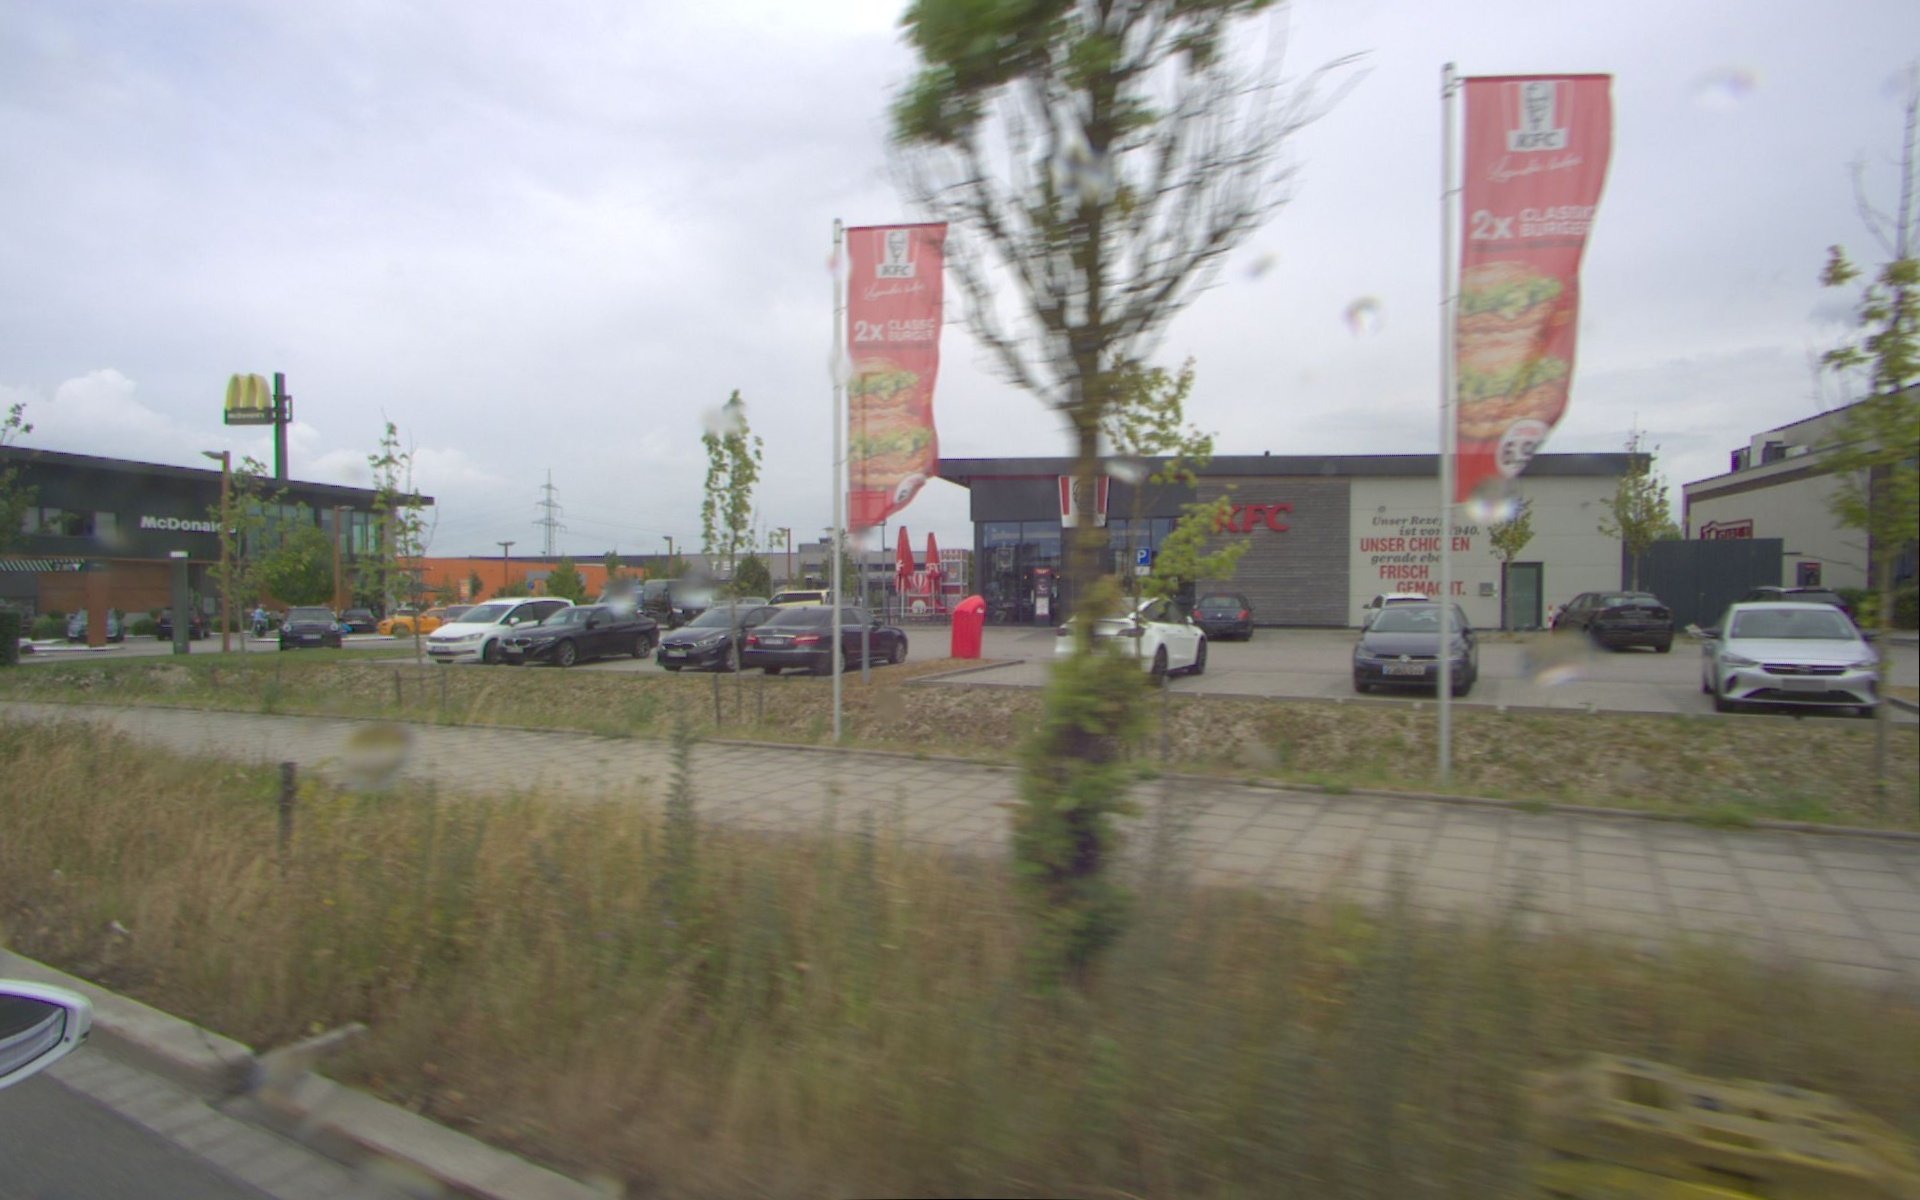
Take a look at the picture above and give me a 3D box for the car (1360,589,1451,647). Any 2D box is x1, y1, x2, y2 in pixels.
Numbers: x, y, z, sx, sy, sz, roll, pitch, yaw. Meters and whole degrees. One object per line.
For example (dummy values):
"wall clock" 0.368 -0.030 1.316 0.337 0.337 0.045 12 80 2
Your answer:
"car" 13.191 0.479 29.896 2.044 1.539 4.566 0 1 18

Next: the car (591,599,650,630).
"car" -16.871 0.684 49.677 1.928 1.462 4.195 -1 0 -31

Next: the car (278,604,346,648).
"car" -21.366 0.805 32.958 1.793 1.330 3.823 0 0 -34

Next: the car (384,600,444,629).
"car" -34.268 0.916 62.994 1.962 1.745 3.999 0 -1 -6

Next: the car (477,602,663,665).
"car" -9.872 0.780 25.789 2.037 1.455 4.472 0 0 20

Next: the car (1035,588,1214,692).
"car" 3.290 0.649 19.160 2.056 1.667 4.556 0 1 28

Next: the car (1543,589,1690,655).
"car" 16.922 0.504 26.080 1.942 1.539 4.568 0 1 17

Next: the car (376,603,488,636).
"car" -25.458 0.904 48.291 4.667 1.462 1.989 0 0 -31

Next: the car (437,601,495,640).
"car" -19.631 0.751 39.721 1.976 1.448 4.135 0 0 -28

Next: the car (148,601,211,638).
"car" -38.958 0.966 50.087 2.094 1.739 4.204 0 -1 -33

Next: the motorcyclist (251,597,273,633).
"motorcyclist" -36.928 0.786 52.995 0.952 1.856 0.839 0 0 -36

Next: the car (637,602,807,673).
"car" -5.489 0.806 23.651 1.909 1.457 4.086 0 1 21

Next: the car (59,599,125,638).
"car" -39.893 0.841 46.082 1.976 1.739 3.971 0 -1 -37

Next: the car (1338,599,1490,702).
"car" 7.877 0.773 17.171 1.912 1.504 3.979 -1 0 32

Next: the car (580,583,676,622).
"car" -22.365 0.163 67.567 5.951 2.562 2.273 0 1 -25

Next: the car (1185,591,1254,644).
"car" 8.476 0.519 32.417 2.010 1.539 4.370 0 1 17

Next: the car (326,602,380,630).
"car" -35.797 0.941 59.038 1.980 1.602 3.962 0 -1 -43

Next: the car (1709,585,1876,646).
"car" 22.786 0.356 27.653 1.863 1.539 4.568 0 1 17

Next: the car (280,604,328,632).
"car" -36.838 1.024 56.183 1.771 1.516 3.965 0 -1 -41

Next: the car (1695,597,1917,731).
"car" 11.580 0.765 13.992 1.875 1.501 3.851 0 1 33

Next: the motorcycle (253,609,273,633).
"motorcycle" -36.914 1.089 52.992 0.848 1.261 1.953 0 0 -36

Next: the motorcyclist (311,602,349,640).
"motorcyclist" -23.042 0.756 36.612 0.880 1.352 0.780 0 1 19

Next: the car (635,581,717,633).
"car" -15.029 0.336 52.575 2.250 2.535 7.285 0 0 -32

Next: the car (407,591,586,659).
"car" -12.182 0.603 26.688 1.903 1.661 4.354 0 0 17

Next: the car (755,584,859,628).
"car" -8.769 0.331 57.400 5.607 2.382 2.523 0 1 31

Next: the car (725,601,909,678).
"car" -3.000 0.777 22.093 1.998 1.488 4.519 0 0 23
